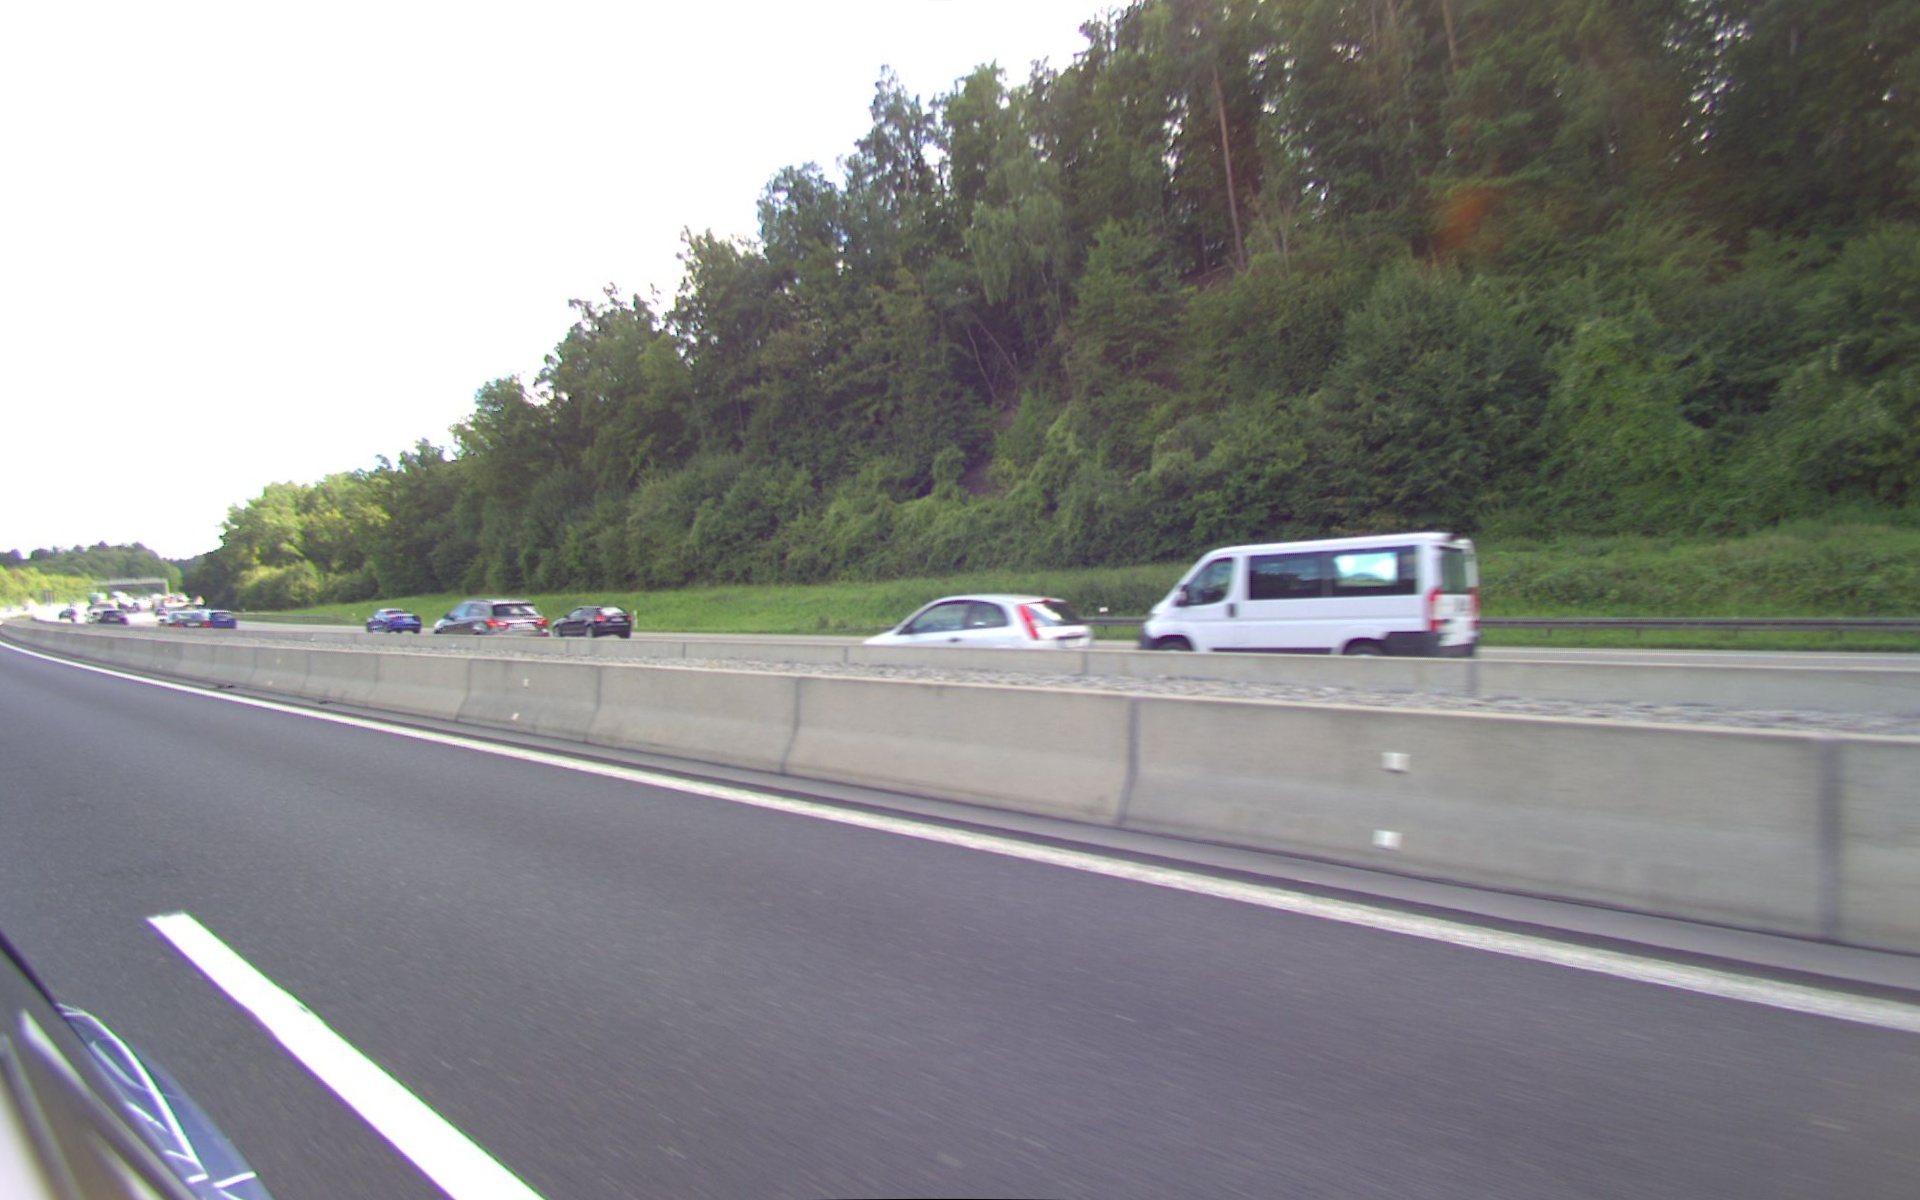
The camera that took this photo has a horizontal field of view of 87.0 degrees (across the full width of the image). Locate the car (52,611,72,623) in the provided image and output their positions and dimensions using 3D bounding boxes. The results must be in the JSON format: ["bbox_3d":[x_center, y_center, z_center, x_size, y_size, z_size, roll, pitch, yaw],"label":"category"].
[{"bbox_3d":[-129.470,2.406,145.927,1.970,1.639,4.781,-1,0,-44],"label":"car"}]

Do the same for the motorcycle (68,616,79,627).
[{"bbox_3d":[-100.702,2.468,114.939,0.911,1.197,2.643,-1,0,-41],"label":"motorcycle"}]

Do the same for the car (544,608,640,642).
[{"bbox_3d":[-15.171,1.020,41.632,4.183,1.321,1.804,-1,0,39],"label":"car"}]

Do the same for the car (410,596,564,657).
[{"bbox_3d":[-13.260,0.707,28.201,5.284,1.548,1.972,-1,0,42],"label":"car"}]

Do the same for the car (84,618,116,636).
[{"bbox_3d":[-74.456,2.303,87.590,4.297,1.471,1.741,-1,0,45],"label":"car"}]

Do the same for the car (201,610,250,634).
[{"bbox_3d":[-50.974,1.534,70.190,4.741,1.551,1.971,-1,0,45],"label":"car"}]

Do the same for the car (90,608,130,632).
[{"bbox_3d":[-62.810,1.467,74.745,4.316,1.710,1.855,-1,0,45],"label":"car"}]

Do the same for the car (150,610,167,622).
[{"bbox_3d":[-133.793,2.681,168.948,1.969,2.050,4.005,-1,0,-42],"label":"car"}]

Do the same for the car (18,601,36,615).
[{"bbox_3d":[-148.106,1.265,160.658,1.969,2.050,4.005,-1,0,-42],"label":"car"}]

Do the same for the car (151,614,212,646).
[{"bbox_3d":[-39.695,1.502,51.575,4.500,1.551,1.681,-1,0,42],"label":"car"}]

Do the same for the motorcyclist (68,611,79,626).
[{"bbox_3d":[-100.696,2.114,114.918,0.884,1.645,0.923,-1,0,-41],"label":"motorcyclist"}]

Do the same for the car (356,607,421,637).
[{"bbox_3d":[-31.732,1.225,56.146,4.556,1.586,1.786,-1,0,42],"label":"car"}]

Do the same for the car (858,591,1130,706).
[{"bbox_3d":[0.397,0.650,14.836,3.887,1.461,1.549,-1,0,42],"label":"car"}]

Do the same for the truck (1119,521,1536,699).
[{"bbox_3d":[5.379,0.161,15.431,5.570,2.242,2.160,-1,0,42],"label":"truck"}]

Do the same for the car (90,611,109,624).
[{"bbox_3d":[-141.033,2.838,165.829,2.174,2.146,8.086,-1,0,-42],"label":"car"}]
